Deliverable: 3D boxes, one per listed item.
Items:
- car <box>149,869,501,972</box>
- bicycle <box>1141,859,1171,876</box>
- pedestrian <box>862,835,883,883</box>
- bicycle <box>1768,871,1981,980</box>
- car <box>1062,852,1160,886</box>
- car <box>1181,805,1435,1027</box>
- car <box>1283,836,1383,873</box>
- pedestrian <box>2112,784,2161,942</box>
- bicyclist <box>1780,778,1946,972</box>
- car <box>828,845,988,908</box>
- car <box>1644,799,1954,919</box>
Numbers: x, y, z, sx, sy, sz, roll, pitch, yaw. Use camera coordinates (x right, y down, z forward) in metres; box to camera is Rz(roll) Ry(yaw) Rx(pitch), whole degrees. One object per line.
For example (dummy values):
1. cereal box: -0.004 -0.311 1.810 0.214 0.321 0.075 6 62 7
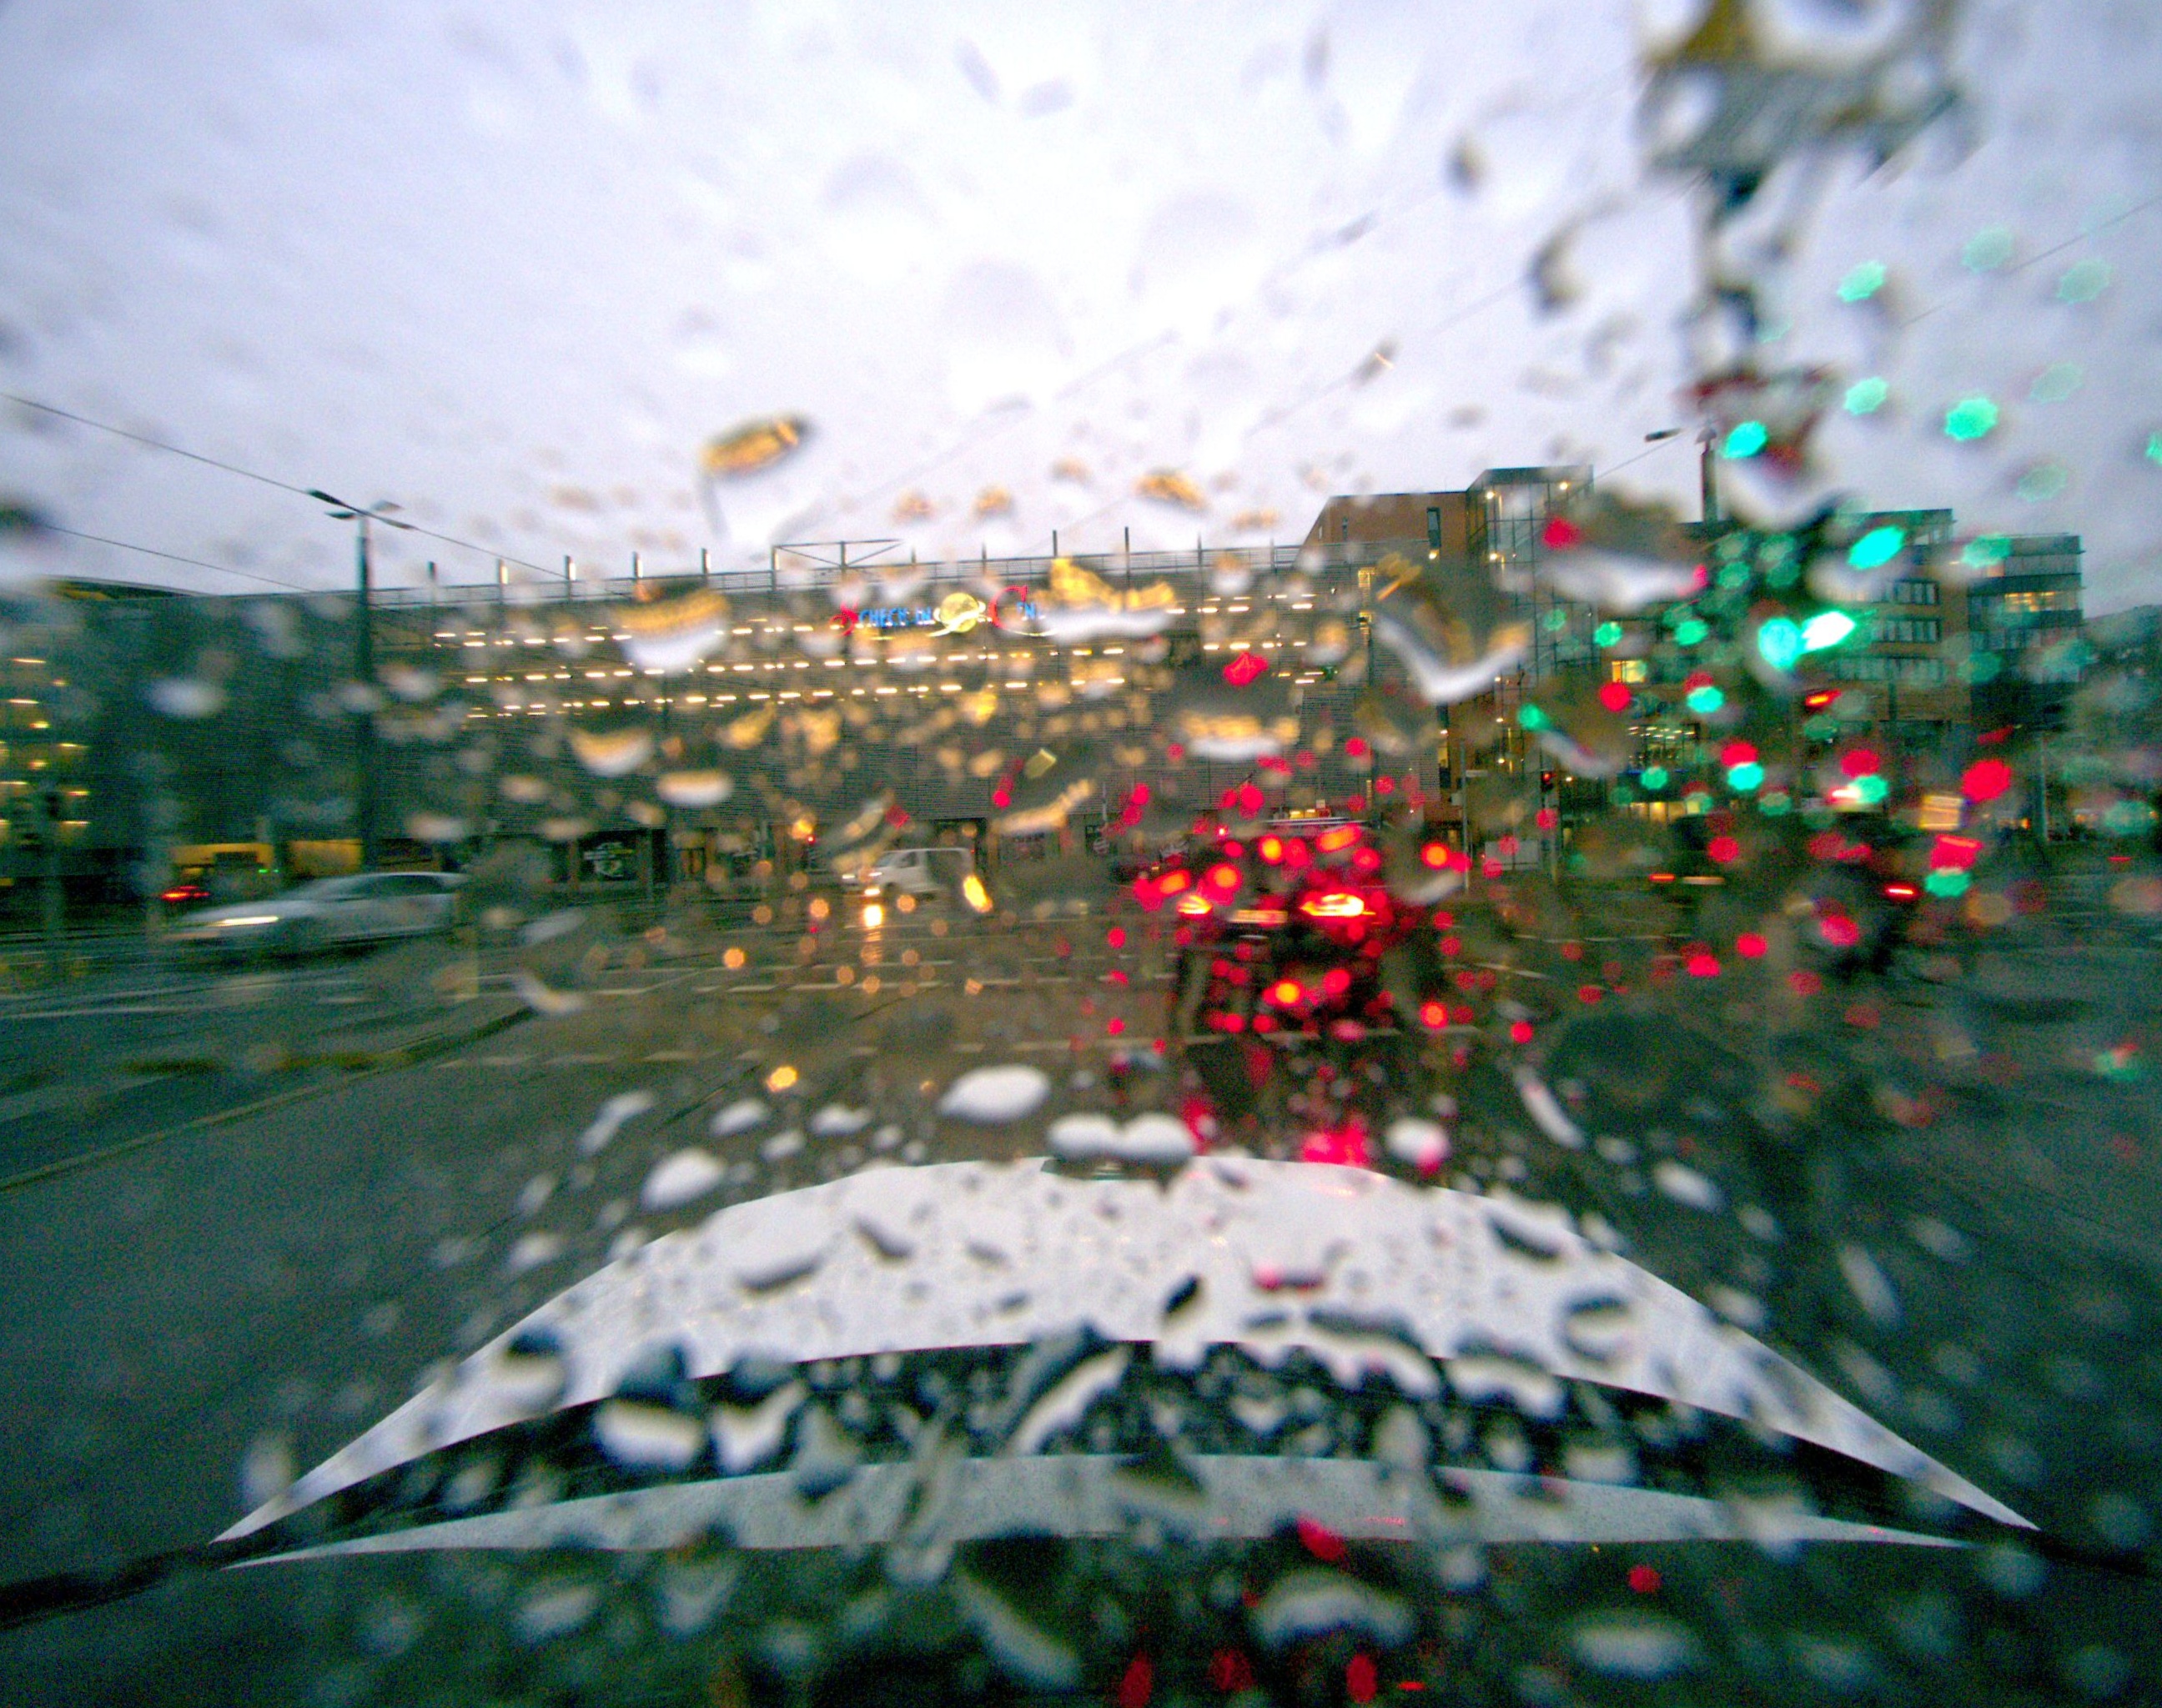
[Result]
1. car: -13.629 1.104 15.058 1.843 1.486 4.366 -2 0 24
2. bicycle: 5.299 0.948 57.404 2.076 1.122 0.477 -1 -1 2
3. pedestrian: -13.112 0.314 51.207 0.958 2.925 1.115 -1 -1 4
4. bicycle: 8.221 0.691 8.570 0.651 0.973 1.872 -2 0 11
5. car: 1.458 0.699 38.635 4.437 1.444 1.613 -2 0 -30
6. car: 2.631 0.504 8.704 1.658 1.779 4.025 0 0 30
7. car: 13.071 0.007 42.425 4.577 1.719 1.930 -2 0 2
8. pedestrian: 13.217 0.092 9.794 0.766 1.877 0.639 -2 -1 27
9. bicyclist: 8.126 0.213 8.521 0.786 1.890 0.992 -2 -1 10
10. car: -6.281 0.776 30.180 1.928 2.059 5.696 -3 -1 42
11. car: 12.468 0.048 14.213 4.479 1.806 1.841 -2 0 -14
